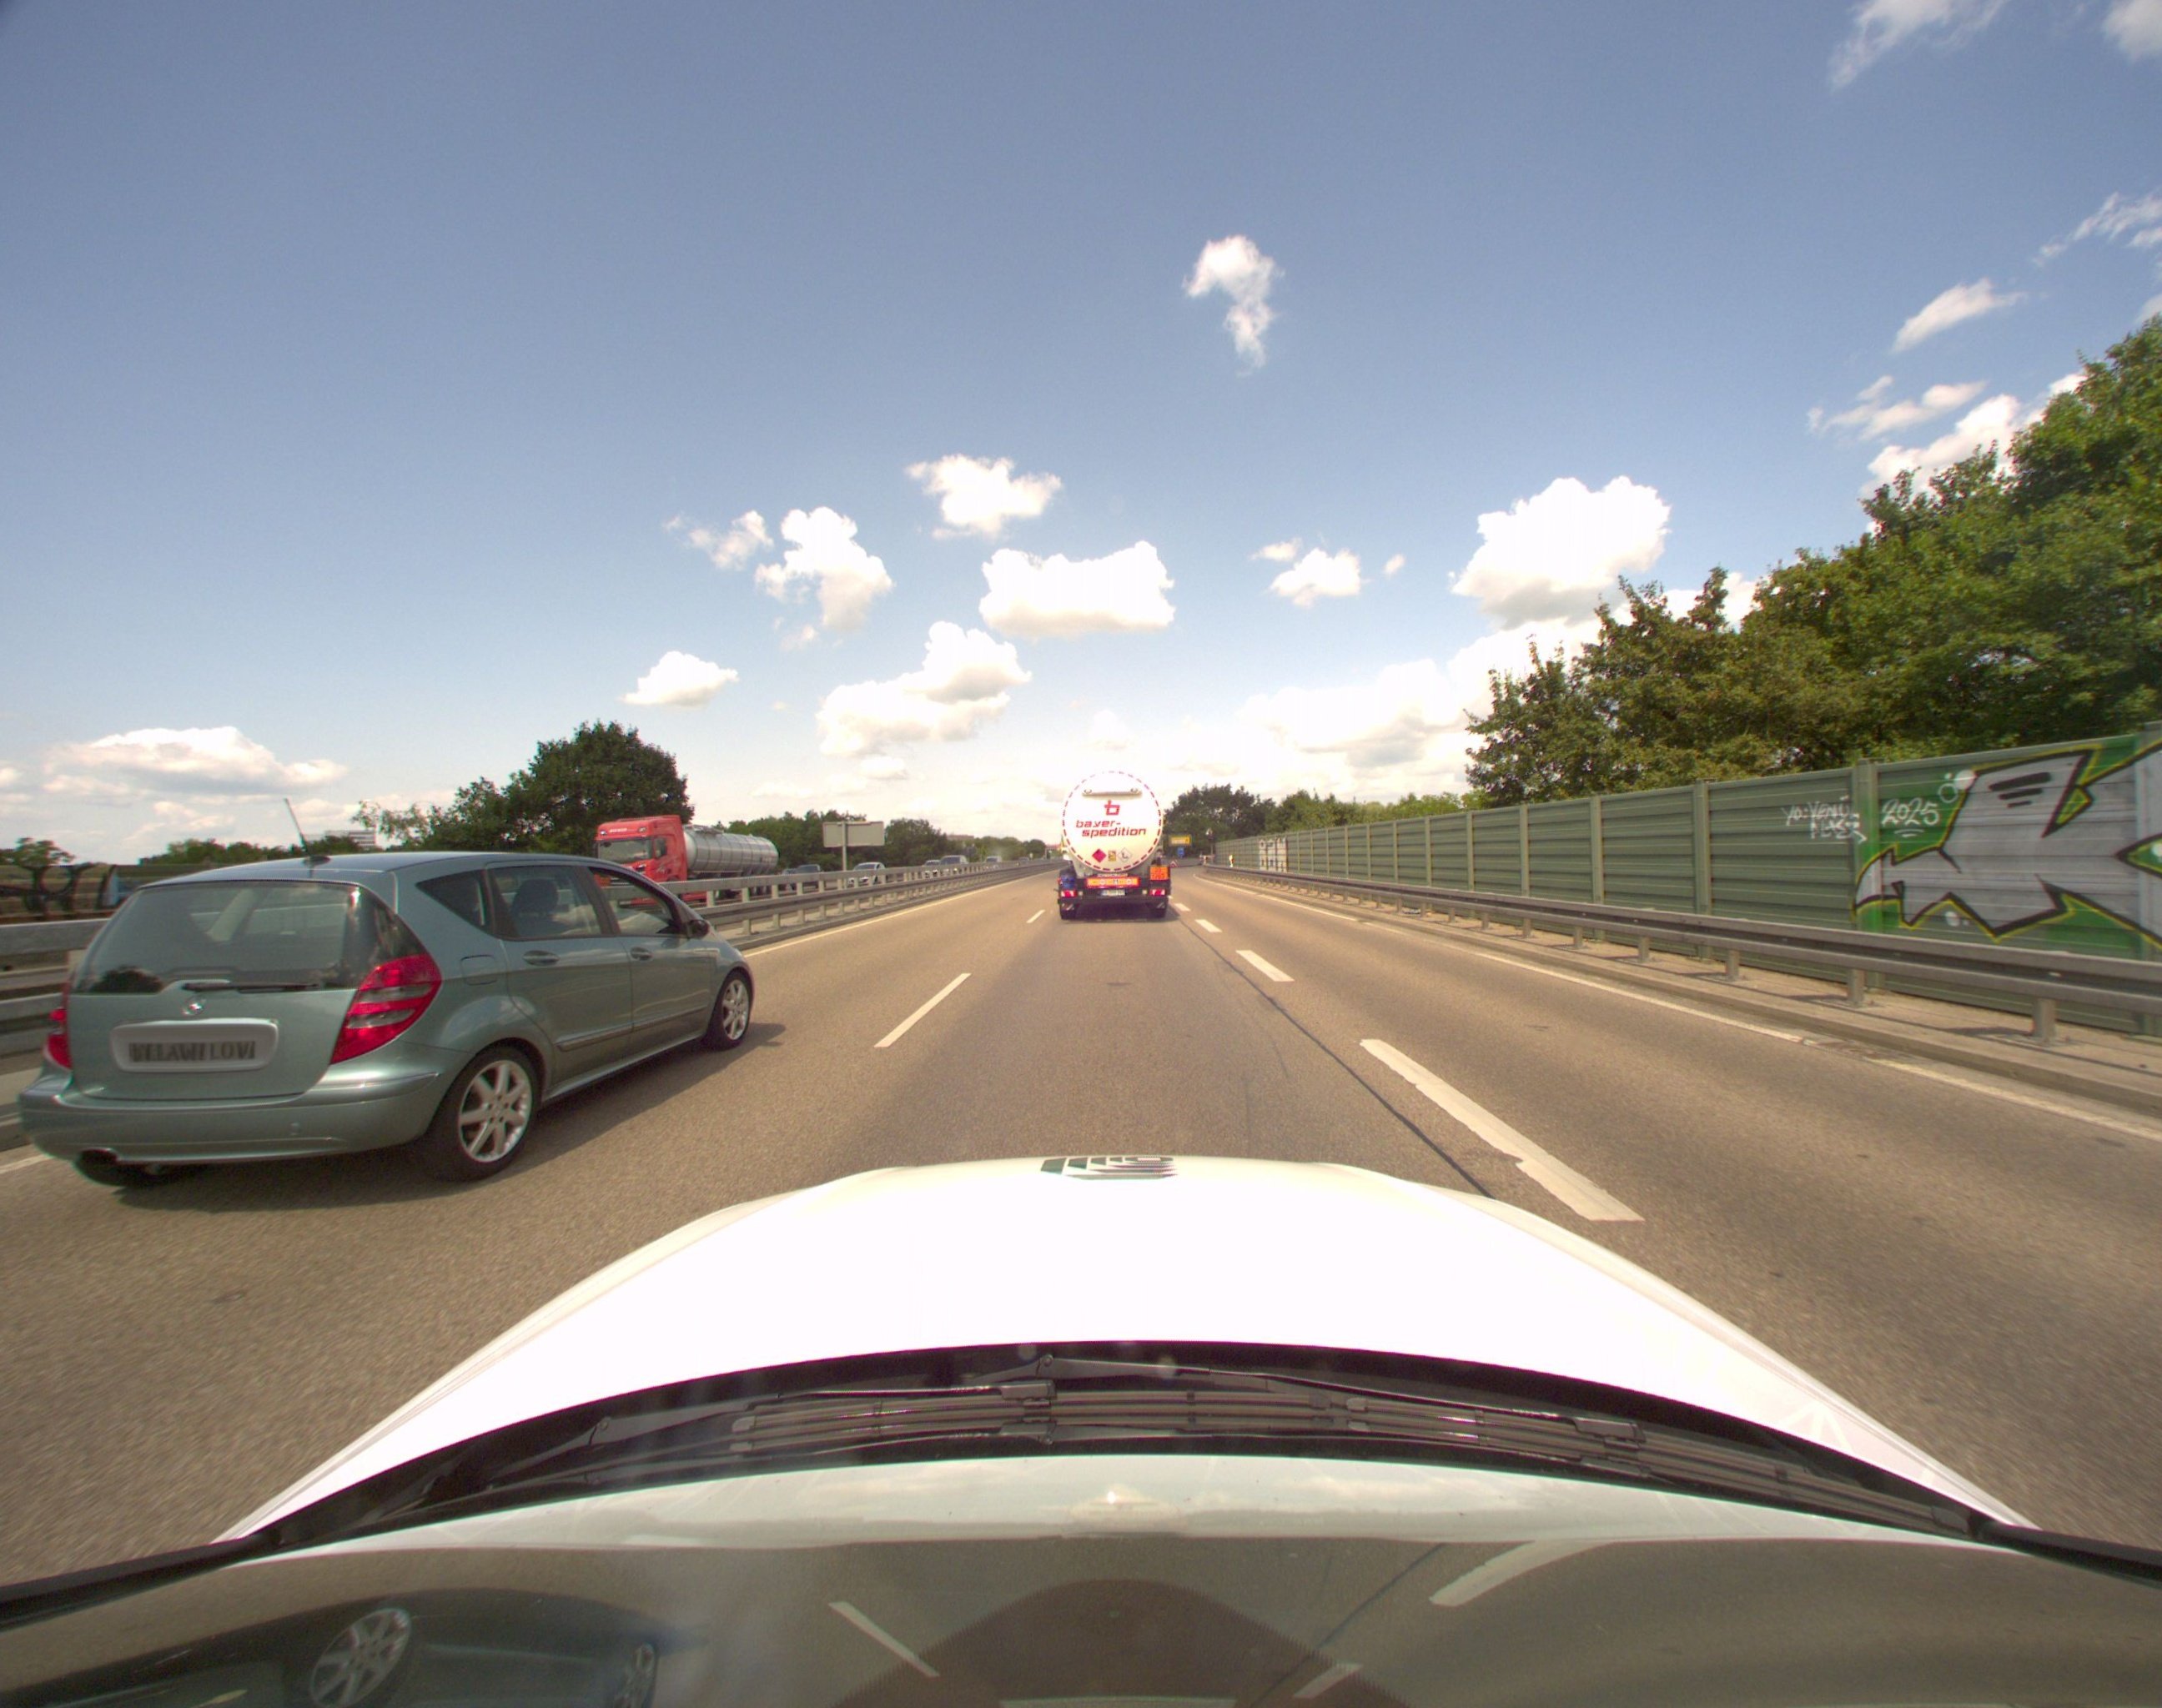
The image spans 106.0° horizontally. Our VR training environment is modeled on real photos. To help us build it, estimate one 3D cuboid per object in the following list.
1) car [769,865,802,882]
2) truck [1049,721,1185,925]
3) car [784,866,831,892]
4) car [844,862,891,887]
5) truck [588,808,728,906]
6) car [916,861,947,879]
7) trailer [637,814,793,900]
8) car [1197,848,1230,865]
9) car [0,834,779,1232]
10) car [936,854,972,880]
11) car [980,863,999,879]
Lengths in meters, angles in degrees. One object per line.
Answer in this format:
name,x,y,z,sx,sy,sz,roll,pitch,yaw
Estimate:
car,-28.080,1.846,77.280,1.937,1.574,4.238,-1,0,-33
truck,0.882,-0.645,21.592,2.884,4.369,8.031,0,-1,1
car,-18.745,1.681,55.971,1.710,1.619,4.280,-3,-1,-1
car,-13.365,1.256,51.235,1.776,1.509,3.961,0,0,2
truck,-17.658,0.131,34.511,2.640,3.782,6.231,0,-1,0
car,-13.286,1.395,72.490,1.917,1.574,3.887,0,0,1
trailer,-17.588,0.159,40.322,2.675,3.670,11.027,0,0,0
car,13.775,0.277,84.493,1.974,1.706,4.025,-1,-1,31
car,-3.621,0.712,5.206,1.741,1.531,4.002,-1,0,2
car,-9.032,0.932,58.290,1.988,1.750,4.593,0,0,-2
car,-11.607,2.173,103.633,1.954,1.925,5.190,0,0,0
